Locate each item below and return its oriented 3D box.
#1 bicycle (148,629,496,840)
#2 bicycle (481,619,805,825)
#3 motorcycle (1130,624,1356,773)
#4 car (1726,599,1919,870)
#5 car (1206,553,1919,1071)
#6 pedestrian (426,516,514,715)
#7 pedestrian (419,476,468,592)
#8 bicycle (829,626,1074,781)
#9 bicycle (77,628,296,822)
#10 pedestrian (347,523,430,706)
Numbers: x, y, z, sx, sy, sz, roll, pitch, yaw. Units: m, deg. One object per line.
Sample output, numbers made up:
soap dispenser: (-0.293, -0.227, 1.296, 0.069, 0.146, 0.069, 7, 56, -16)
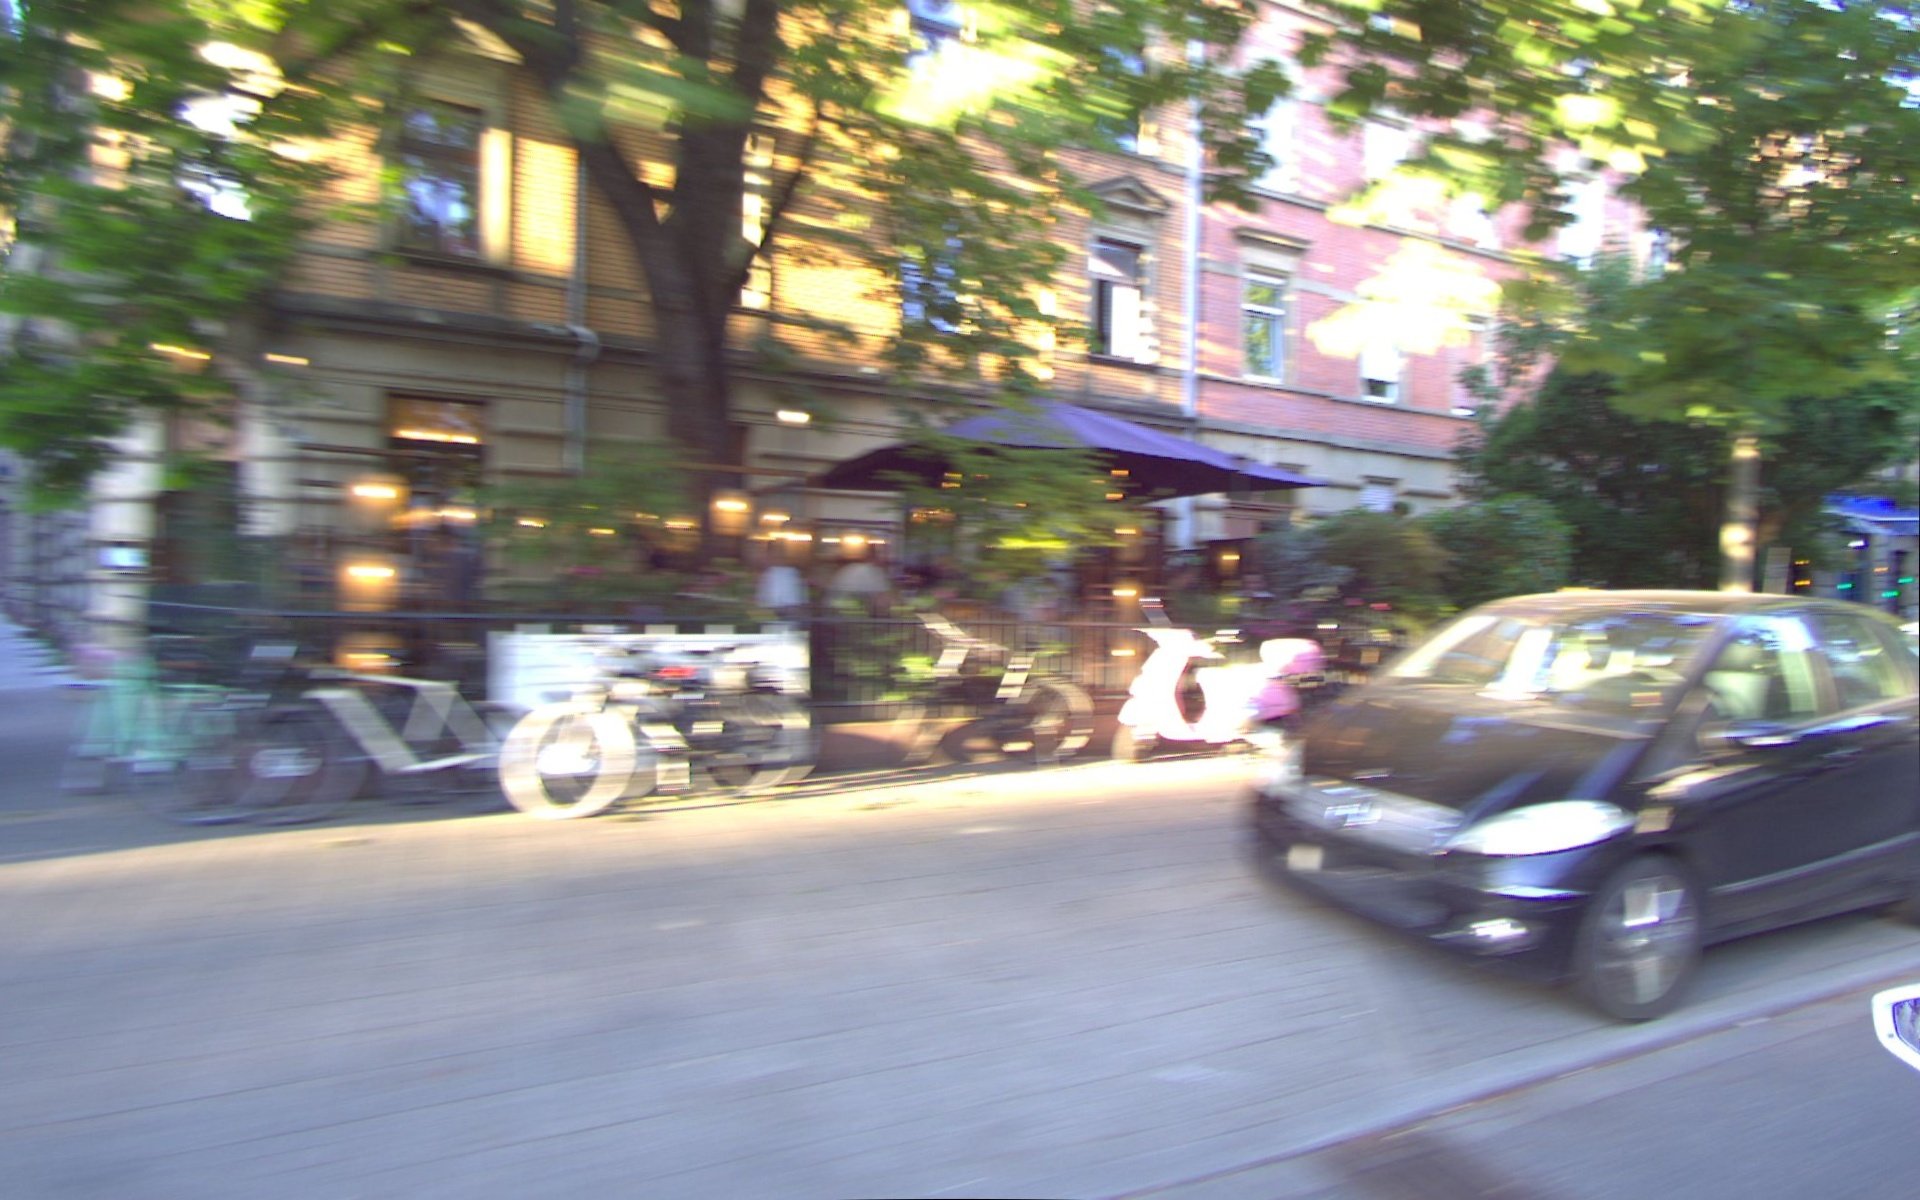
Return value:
bicycle: (-3.778, 0.763, 6.088, 1.720, 1.159, 0.390, 0, 0, -22)
bicycle: (-2.013, 0.753, 6.510, 1.928, 1.202, 0.390, 1, 3, -22)
motorcycle: (2.457, 0.844, 8.704, 1.924, 1.201, 0.391, 2, 2, -16)
car: (7.129, 0.818, 6.743, 3.661, 1.513, 1.658, 1, 3, -26)
car: (3.260, 0.696, 4.887, 3.796, 1.700, 1.658, 1, 3, -26)
pedestrian: (-3.773, 0.114, 7.739, 0.422, 1.470, 0.462, 0, 0, 34)
pedestrian: (-6.575, -0.820, 12.780, 0.460, 1.431, 0.518, 0, 1, -39)
bicycle: (-0.065, 0.814, 8.116, 1.924, 1.159, 0.391, 1, 3, -16)
bicycle: (-5.047, 0.759, 6.522, 1.795, 1.113, 0.392, 0, 0, 27)
pedestrian: (-4.769, 0.116, 8.393, 0.422, 1.470, 0.462, 0, 0, 34)
